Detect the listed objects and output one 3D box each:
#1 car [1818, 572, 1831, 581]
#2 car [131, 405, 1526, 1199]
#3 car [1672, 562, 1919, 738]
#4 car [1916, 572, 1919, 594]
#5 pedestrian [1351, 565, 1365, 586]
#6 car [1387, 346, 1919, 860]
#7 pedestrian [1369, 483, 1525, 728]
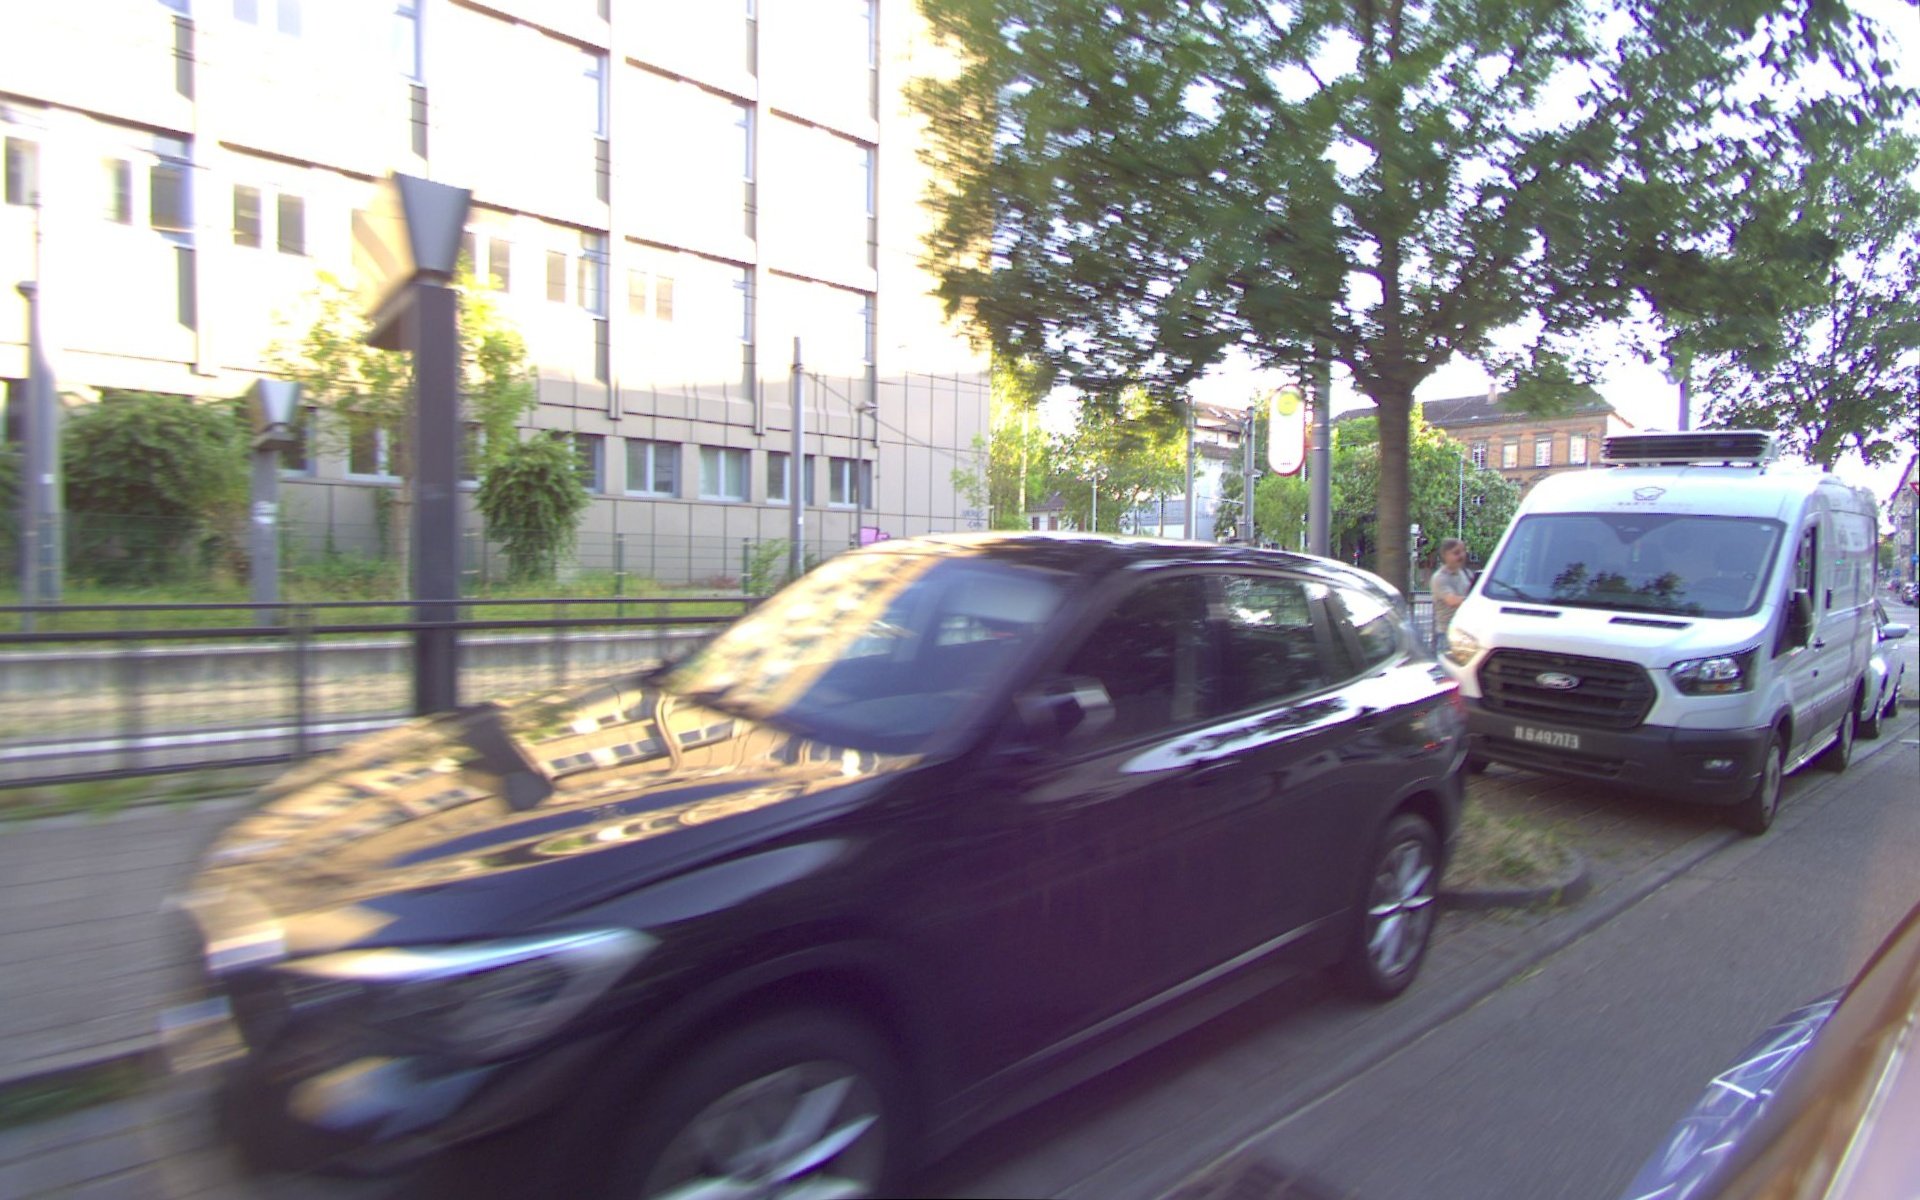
[{"bbox_3d":[159.832,-4.366,187.144,1.780,1.475,4.234,2,2,41],"label":"car"},{"bbox_3d":[0.071,0.514,3.260,4.193,1.663,1.711,-1,4,-41],"label":"car"},{"bbox_3d":[9.855,0.430,11.757,3.946,1.602,1.751,-1,6,-43],"label":"car"},{"bbox_3d":[66.922,-1.160,69.522,1.781,1.475,4.229,2,2,44],"label":"car"},{"bbox_3d":[29.554,-1.803,75.110,0.802,1.545,0.580,-1,2,-37],"label":"pedestrian"},{"bbox_3d":[5.624,-0.092,7.846,5.342,2.688,2.055,-1,5,-42],"label":"car"},{"bbox_3d":[4.243,0.029,8.890,0.962,2.038,0.807,1,1,5],"label":"pedestrian"}]
